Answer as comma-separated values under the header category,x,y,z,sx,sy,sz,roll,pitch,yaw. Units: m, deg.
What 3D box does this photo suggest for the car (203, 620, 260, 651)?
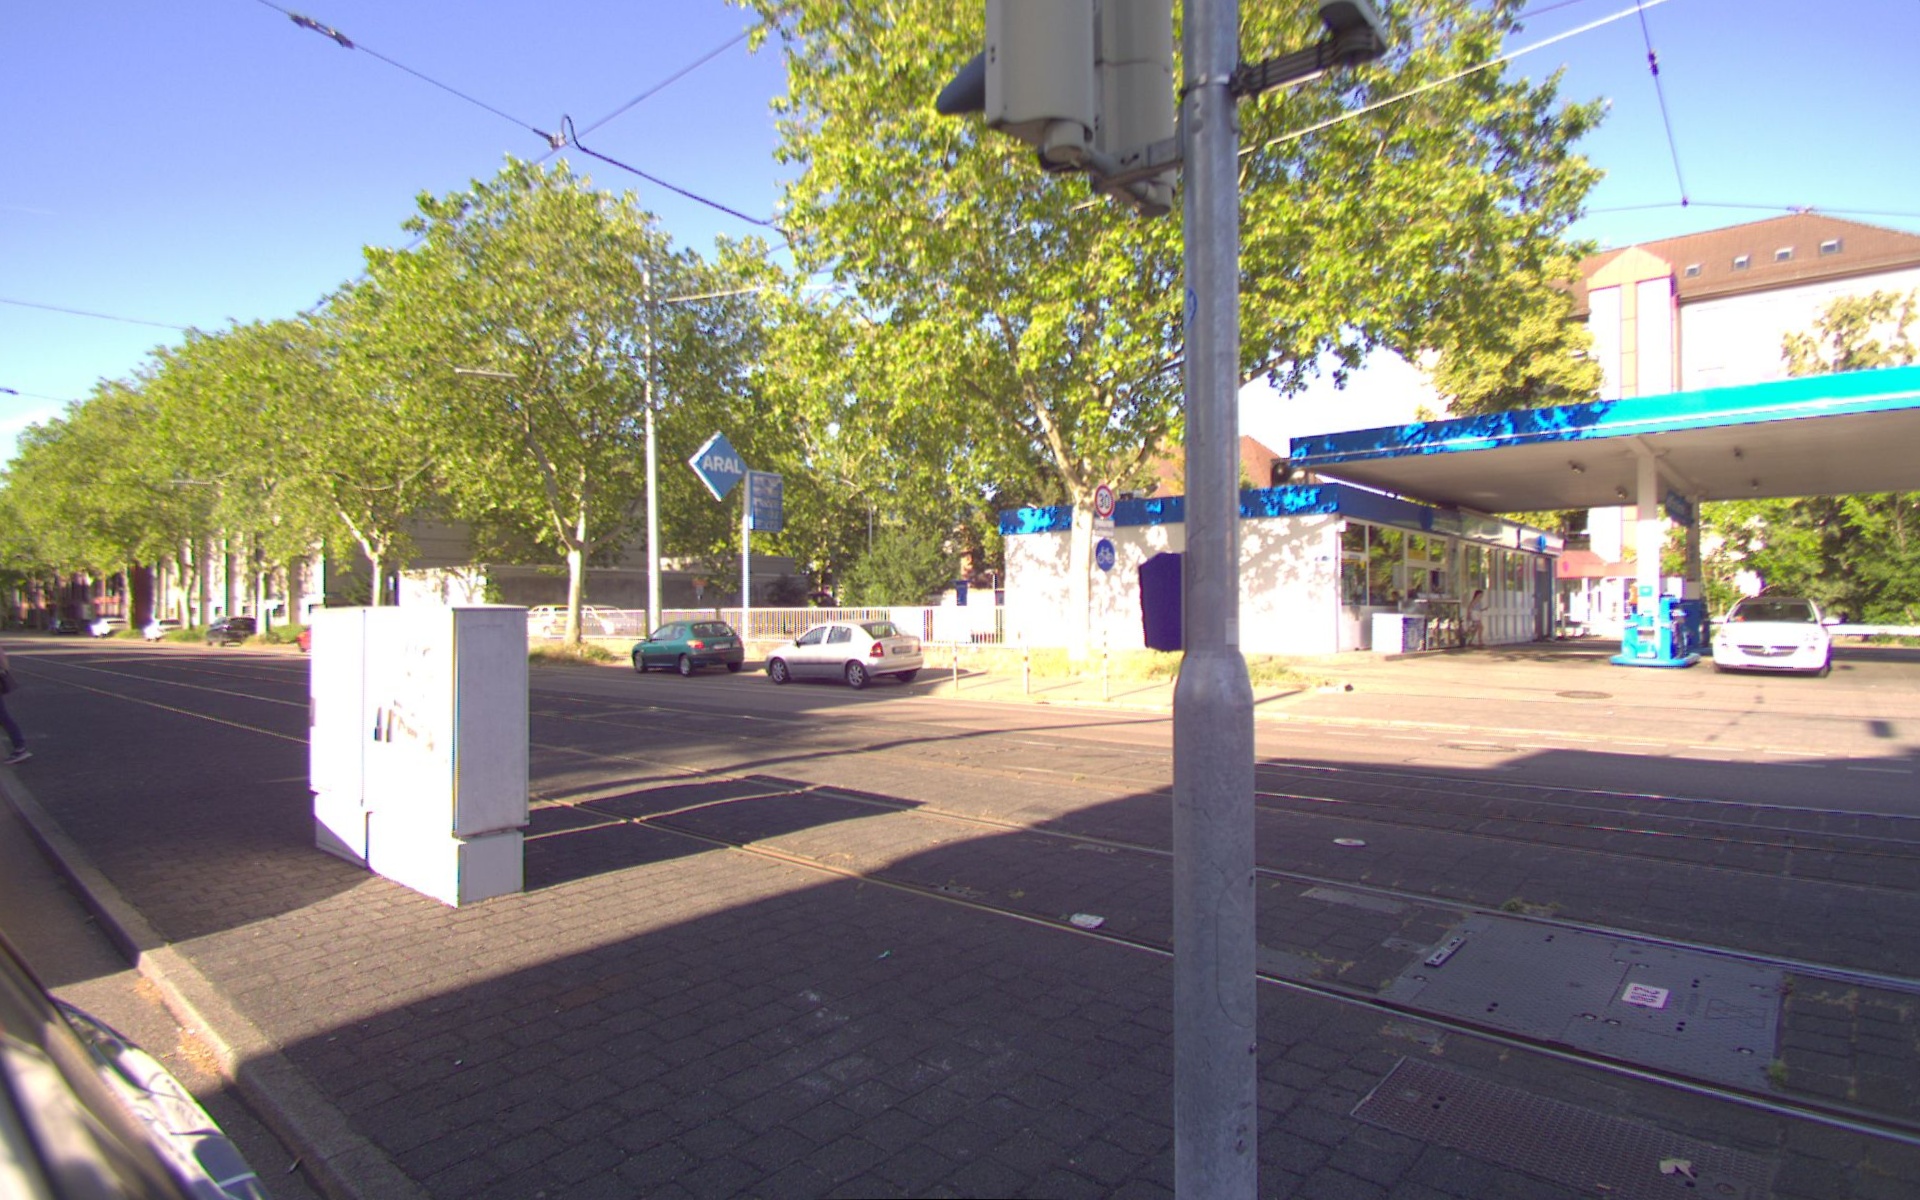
category,x,y,z,sx,sy,sz,roll,pitch,yaw
car,-40.754,1.945,56.587,3.998,1.674,1.779,-1,-1,41

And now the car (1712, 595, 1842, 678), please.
category,x,y,z,sx,sy,sz,roll,pitch,yaw
car,16.028,0.672,19.905,1.812,1.453,3.947,-1,-1,39

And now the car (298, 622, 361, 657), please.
category,x,y,z,sx,sy,sz,roll,pitch,yaw
car,-28.555,1.744,45.796,3.045,1.519,1.620,-1,-1,41

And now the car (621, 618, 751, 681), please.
category,x,y,z,sx,sy,sz,roll,pitch,yaw
car,-7.327,1.272,26.929,3.519,1.475,1.670,-1,2,43

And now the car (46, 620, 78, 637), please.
category,x,y,z,sx,sy,sz,roll,pitch,yaw
car,-85.323,2.719,96.114,3.998,1.525,1.779,-1,-1,41

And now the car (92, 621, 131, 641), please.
category,x,y,z,sx,sy,sz,roll,pitch,yaw
car,-66.684,2.390,79.526,3.998,1.525,1.779,-1,-1,41

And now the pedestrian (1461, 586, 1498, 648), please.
category,x,y,z,sx,sy,sz,roll,pitch,yaw
pedestrian,14.352,0.470,27.945,0.761,1.705,0.578,-2,-2,44

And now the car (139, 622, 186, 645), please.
category,x,y,z,sx,sy,sz,roll,pitch,yaw
car,-53.720,2.256,68.160,3.998,1.509,1.779,-1,-1,41

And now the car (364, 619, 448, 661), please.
category,x,y,z,sx,sy,sz,roll,pitch,yaw
car,-21.941,1.544,40.048,3.652,1.541,1.802,-1,-1,41

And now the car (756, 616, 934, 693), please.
category,x,y,z,sx,sy,sz,roll,pitch,yaw
car,-2.629,1.154,22.659,3.965,1.475,1.771,-1,2,43

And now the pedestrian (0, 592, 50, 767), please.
category,x,y,z,sx,sy,sz,roll,pitch,yaw
pedestrian,-9.638,0.764,9.888,1.090,1.674,0.690,-1,0,21
